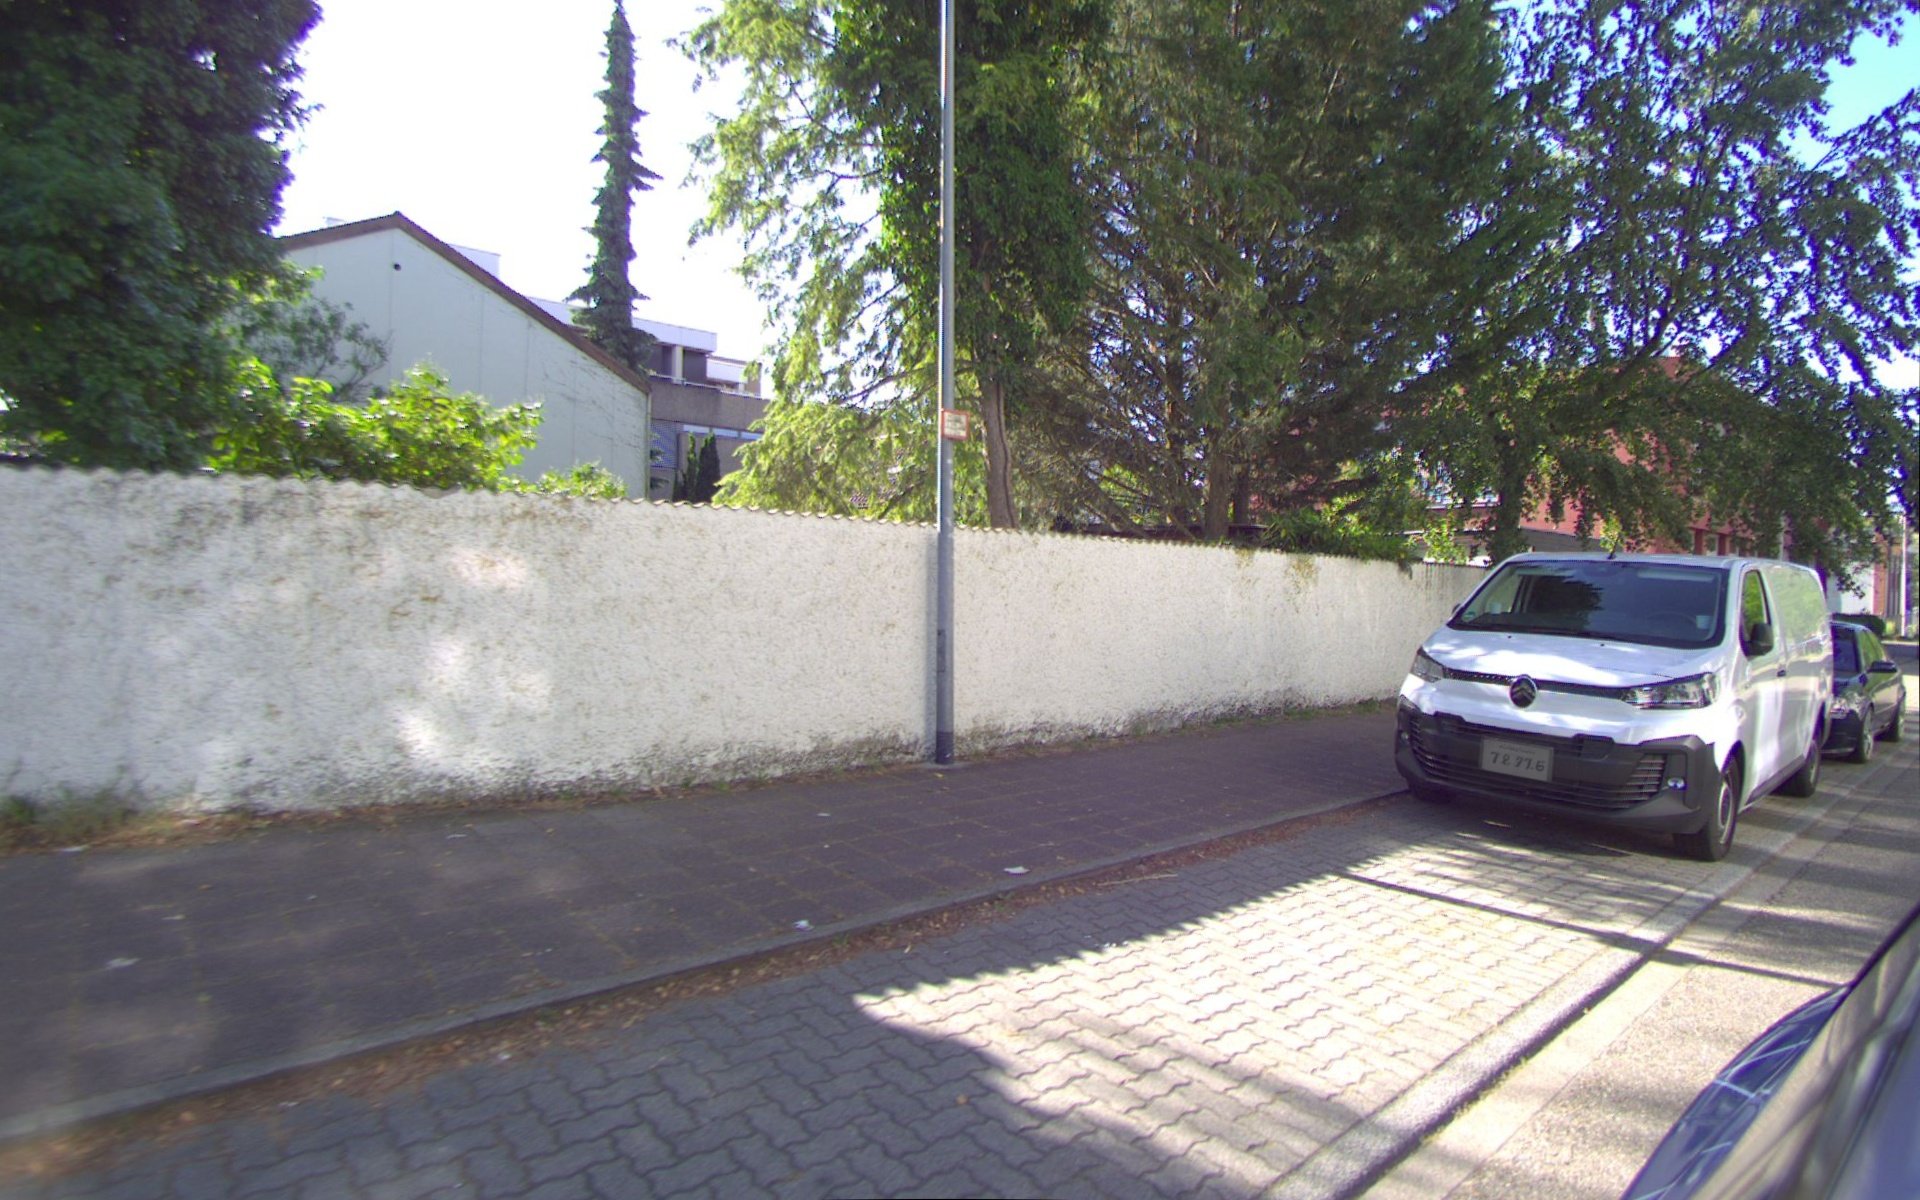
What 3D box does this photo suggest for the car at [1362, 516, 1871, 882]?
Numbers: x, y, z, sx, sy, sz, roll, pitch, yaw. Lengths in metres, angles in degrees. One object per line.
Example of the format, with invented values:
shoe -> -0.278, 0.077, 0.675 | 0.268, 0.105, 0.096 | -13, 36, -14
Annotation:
car -> 5.254, 0.502, 7.745 | 5.057, 1.938, 1.902 | 0, 2, -41

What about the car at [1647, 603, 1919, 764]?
car -> 9.613, 0.797, 11.596 | 4.208, 1.441, 1.829 | 0, 2, -41
